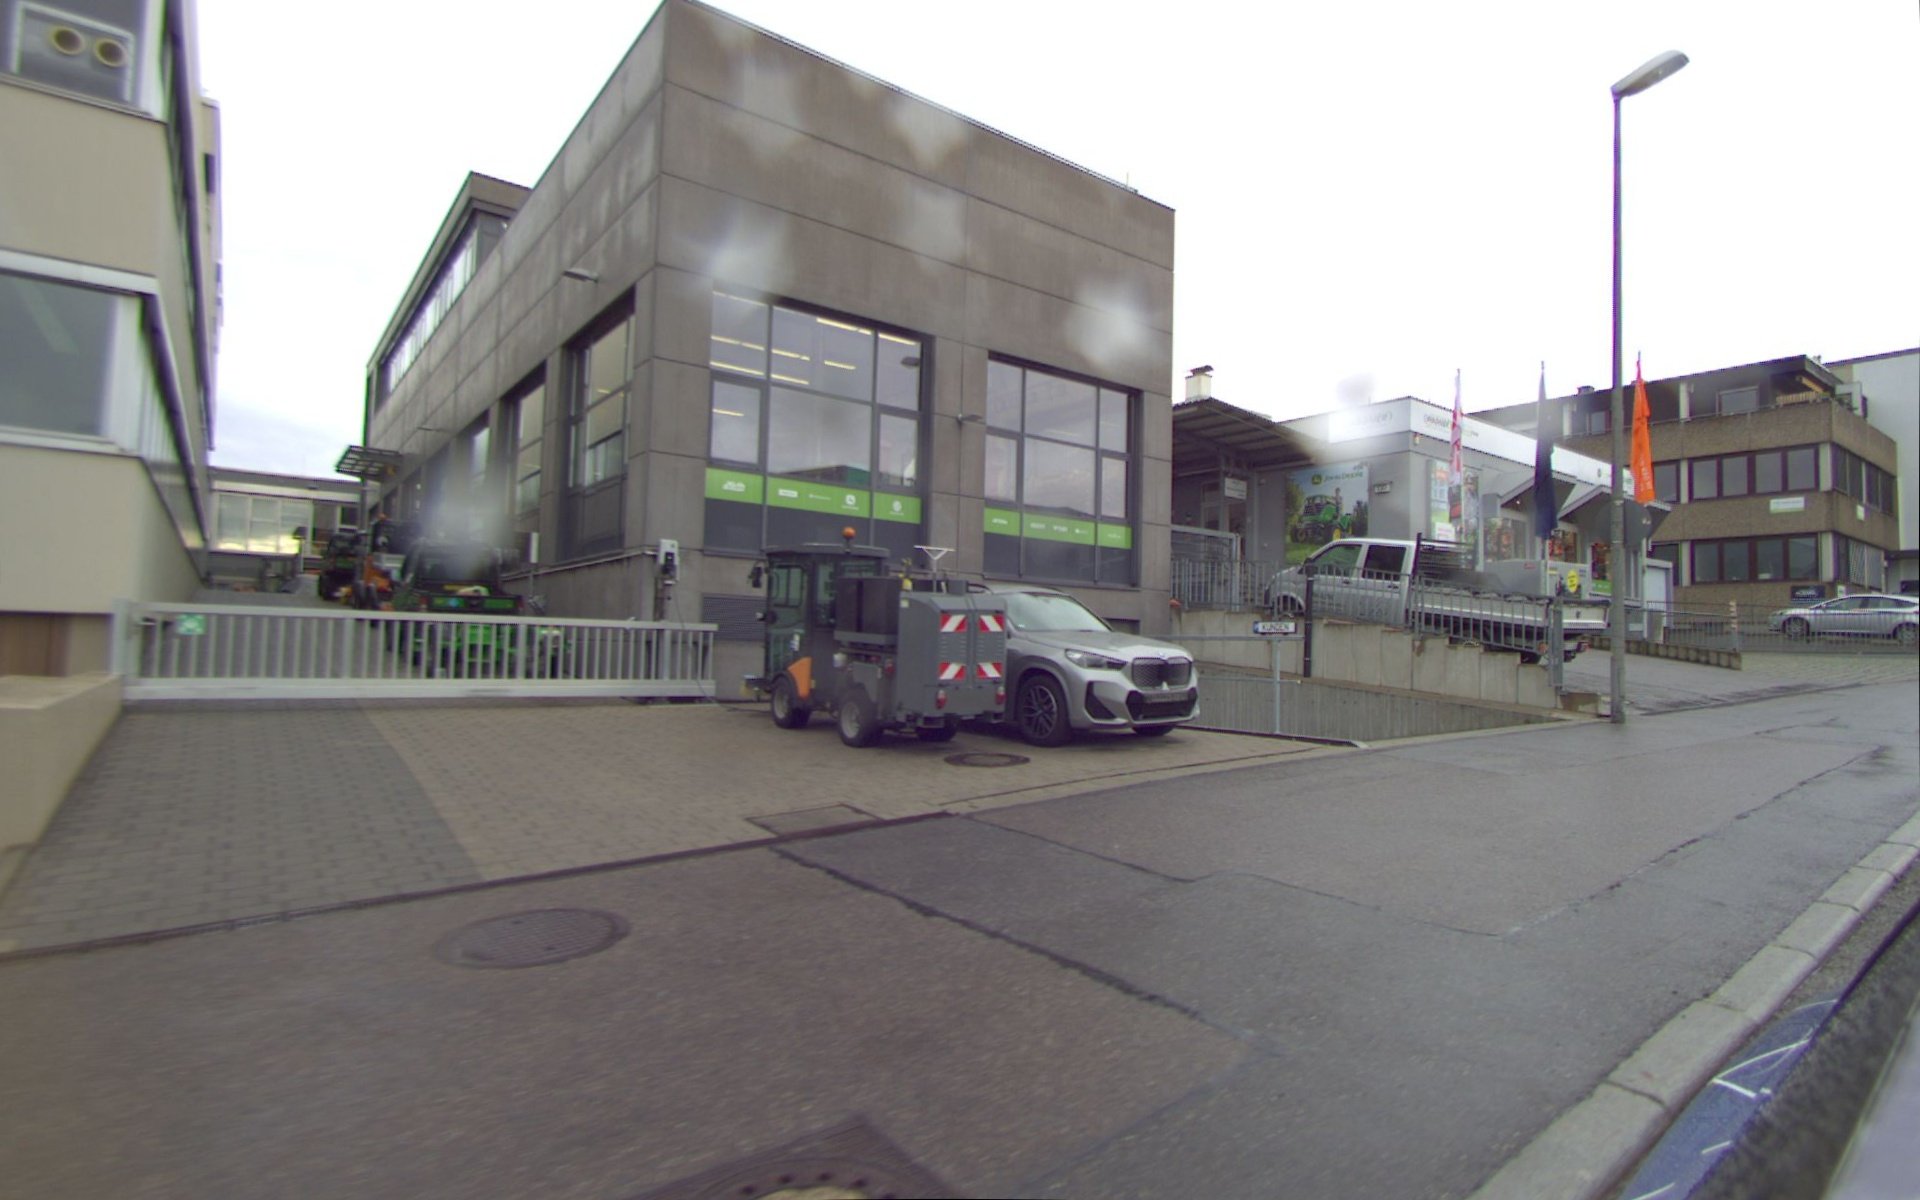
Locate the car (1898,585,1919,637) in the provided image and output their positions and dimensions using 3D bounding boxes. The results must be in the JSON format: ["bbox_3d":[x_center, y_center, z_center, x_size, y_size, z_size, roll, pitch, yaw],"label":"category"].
[{"bbox_3d":[35.121,0.344,36.039,4.391,1.772,1.753,-1,0,-37],"label":"car"}]

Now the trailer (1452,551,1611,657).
[{"bbox_3d":[14.400,0.118,25.449,4.226,2.448,1.892,1,-1,-36],"label":"trailer"}]

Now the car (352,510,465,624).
[{"bbox_3d":[-13.026,-0.884,23.660,1.956,2.282,6.812,-1,4,-32],"label":"car"}]

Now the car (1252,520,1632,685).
[{"bbox_3d":[7.888,-0.139,17.205,2.179,2.036,5.323,-1,7,-34],"label":"car"}]

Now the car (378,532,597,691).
[{"bbox_3d":[-7.204,0.063,15.105,1.863,1.874,4.907,5,1,-37],"label":"car"}]

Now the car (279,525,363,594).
[{"bbox_3d":[-23.122,-1.514,36.528,2.121,2.282,5.108,-1,4,-37],"label":"car"}]

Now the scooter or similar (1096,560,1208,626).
[{"bbox_3d":[3.922,-0.142,20.610,2.024,1.240,1.069,2,2,-34],"label":"scooter or similar"}]

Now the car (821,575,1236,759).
[{"bbox_3d":[0.492,0.599,11.650,1.889,1.634,5.105,1,0,-37],"label":"car"}]

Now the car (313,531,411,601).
[{"bbox_3d":[-17.157,-1.010,28.948,1.963,1.776,4.000,0,4,-37],"label":"car"}]

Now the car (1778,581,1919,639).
[{"bbox_3d":[27.637,0.274,30.622,1.967,1.593,4.133,-1,2,-37],"label":"car"}]

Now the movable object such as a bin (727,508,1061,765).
[{"bbox_3d":[-0.908,0.299,10.576,1.449,2.137,4.267,0,0,-36],"label":"movable object such as a bin"}]
